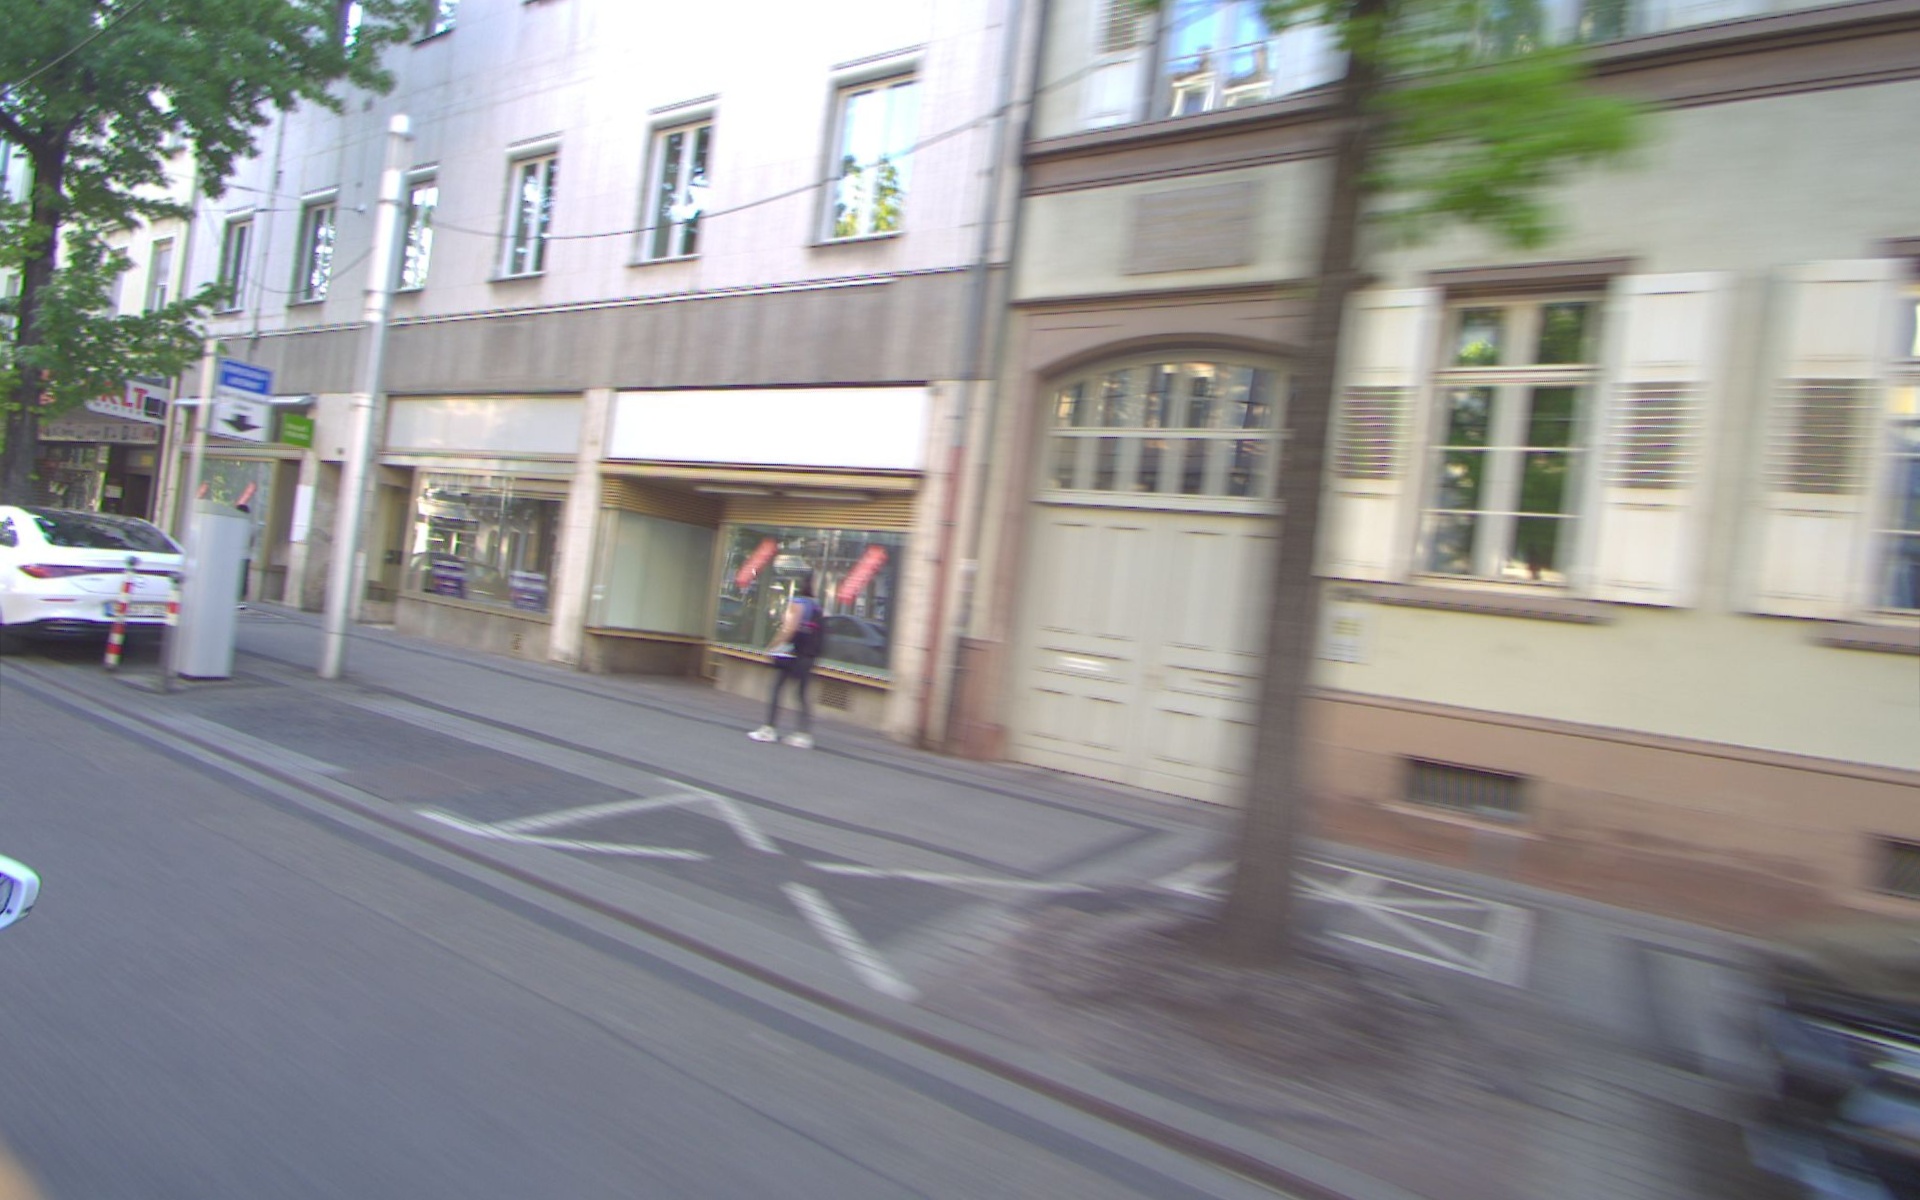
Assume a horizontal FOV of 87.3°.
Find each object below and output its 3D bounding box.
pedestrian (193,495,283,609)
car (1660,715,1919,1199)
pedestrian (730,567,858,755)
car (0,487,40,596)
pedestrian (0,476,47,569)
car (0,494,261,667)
[{"bbox_3d":[-12.097,-0.800,16.869,0.917,1.776,0.858,7,3,32],"label":"pedestrian"},{"bbox_3d":[4.595,1.418,2.283,4.682,1.497,1.834,7,1,32],"label":"car"},{"bbox_3d":[-1.630,0.581,9.891,0.873,1.687,0.658,7,2,32],"label":"pedestrian"},{"bbox_3d":[-16.257,-1.082,15.728,3.827,1.612,1.776,7,2,32],"label":"car"},{"bbox_3d":[-18.119,-1.499,19.297,0.773,1.692,0.643,7,3,32],"label":"pedestrian"},{"bbox_3d":[-10.127,-0.326,11.413,4.603,1.518,1.993,7,2,33],"label":"car"}]
